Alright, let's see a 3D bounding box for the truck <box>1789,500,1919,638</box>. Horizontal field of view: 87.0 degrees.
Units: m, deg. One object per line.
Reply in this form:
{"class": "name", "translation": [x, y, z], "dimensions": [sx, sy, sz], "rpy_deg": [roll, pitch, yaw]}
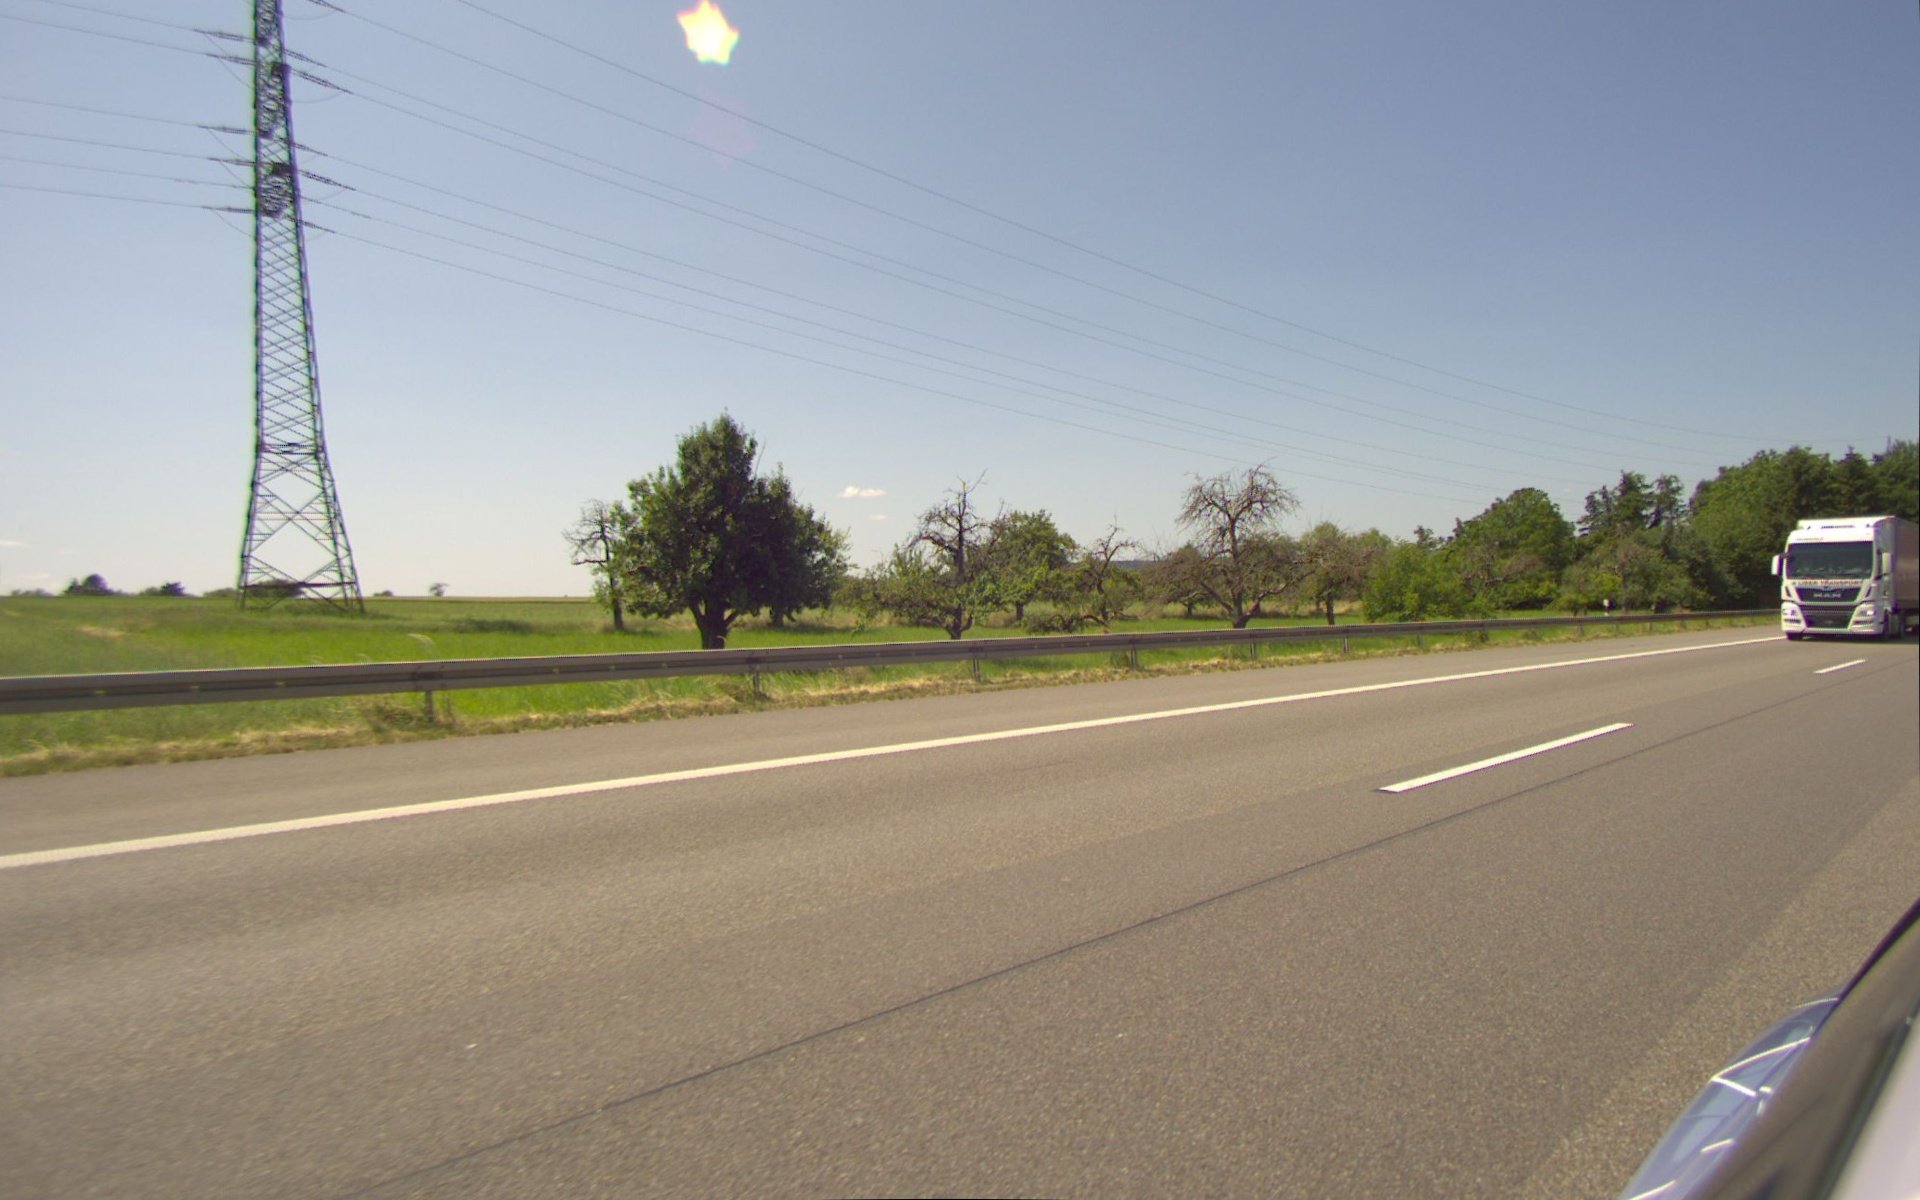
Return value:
{"class": "truck", "translation": [30.108, -0.990, 33.834], "dimensions": [6.136, 4.206, 2.567], "rpy_deg": [0, 0, -39]}

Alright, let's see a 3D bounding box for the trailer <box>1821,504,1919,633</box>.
{"class": "trailer", "translation": [36.207, -1.131, 38.794], "dimensions": [12.799, 4.317, 2.607], "rpy_deg": [-1, 1, -39]}
